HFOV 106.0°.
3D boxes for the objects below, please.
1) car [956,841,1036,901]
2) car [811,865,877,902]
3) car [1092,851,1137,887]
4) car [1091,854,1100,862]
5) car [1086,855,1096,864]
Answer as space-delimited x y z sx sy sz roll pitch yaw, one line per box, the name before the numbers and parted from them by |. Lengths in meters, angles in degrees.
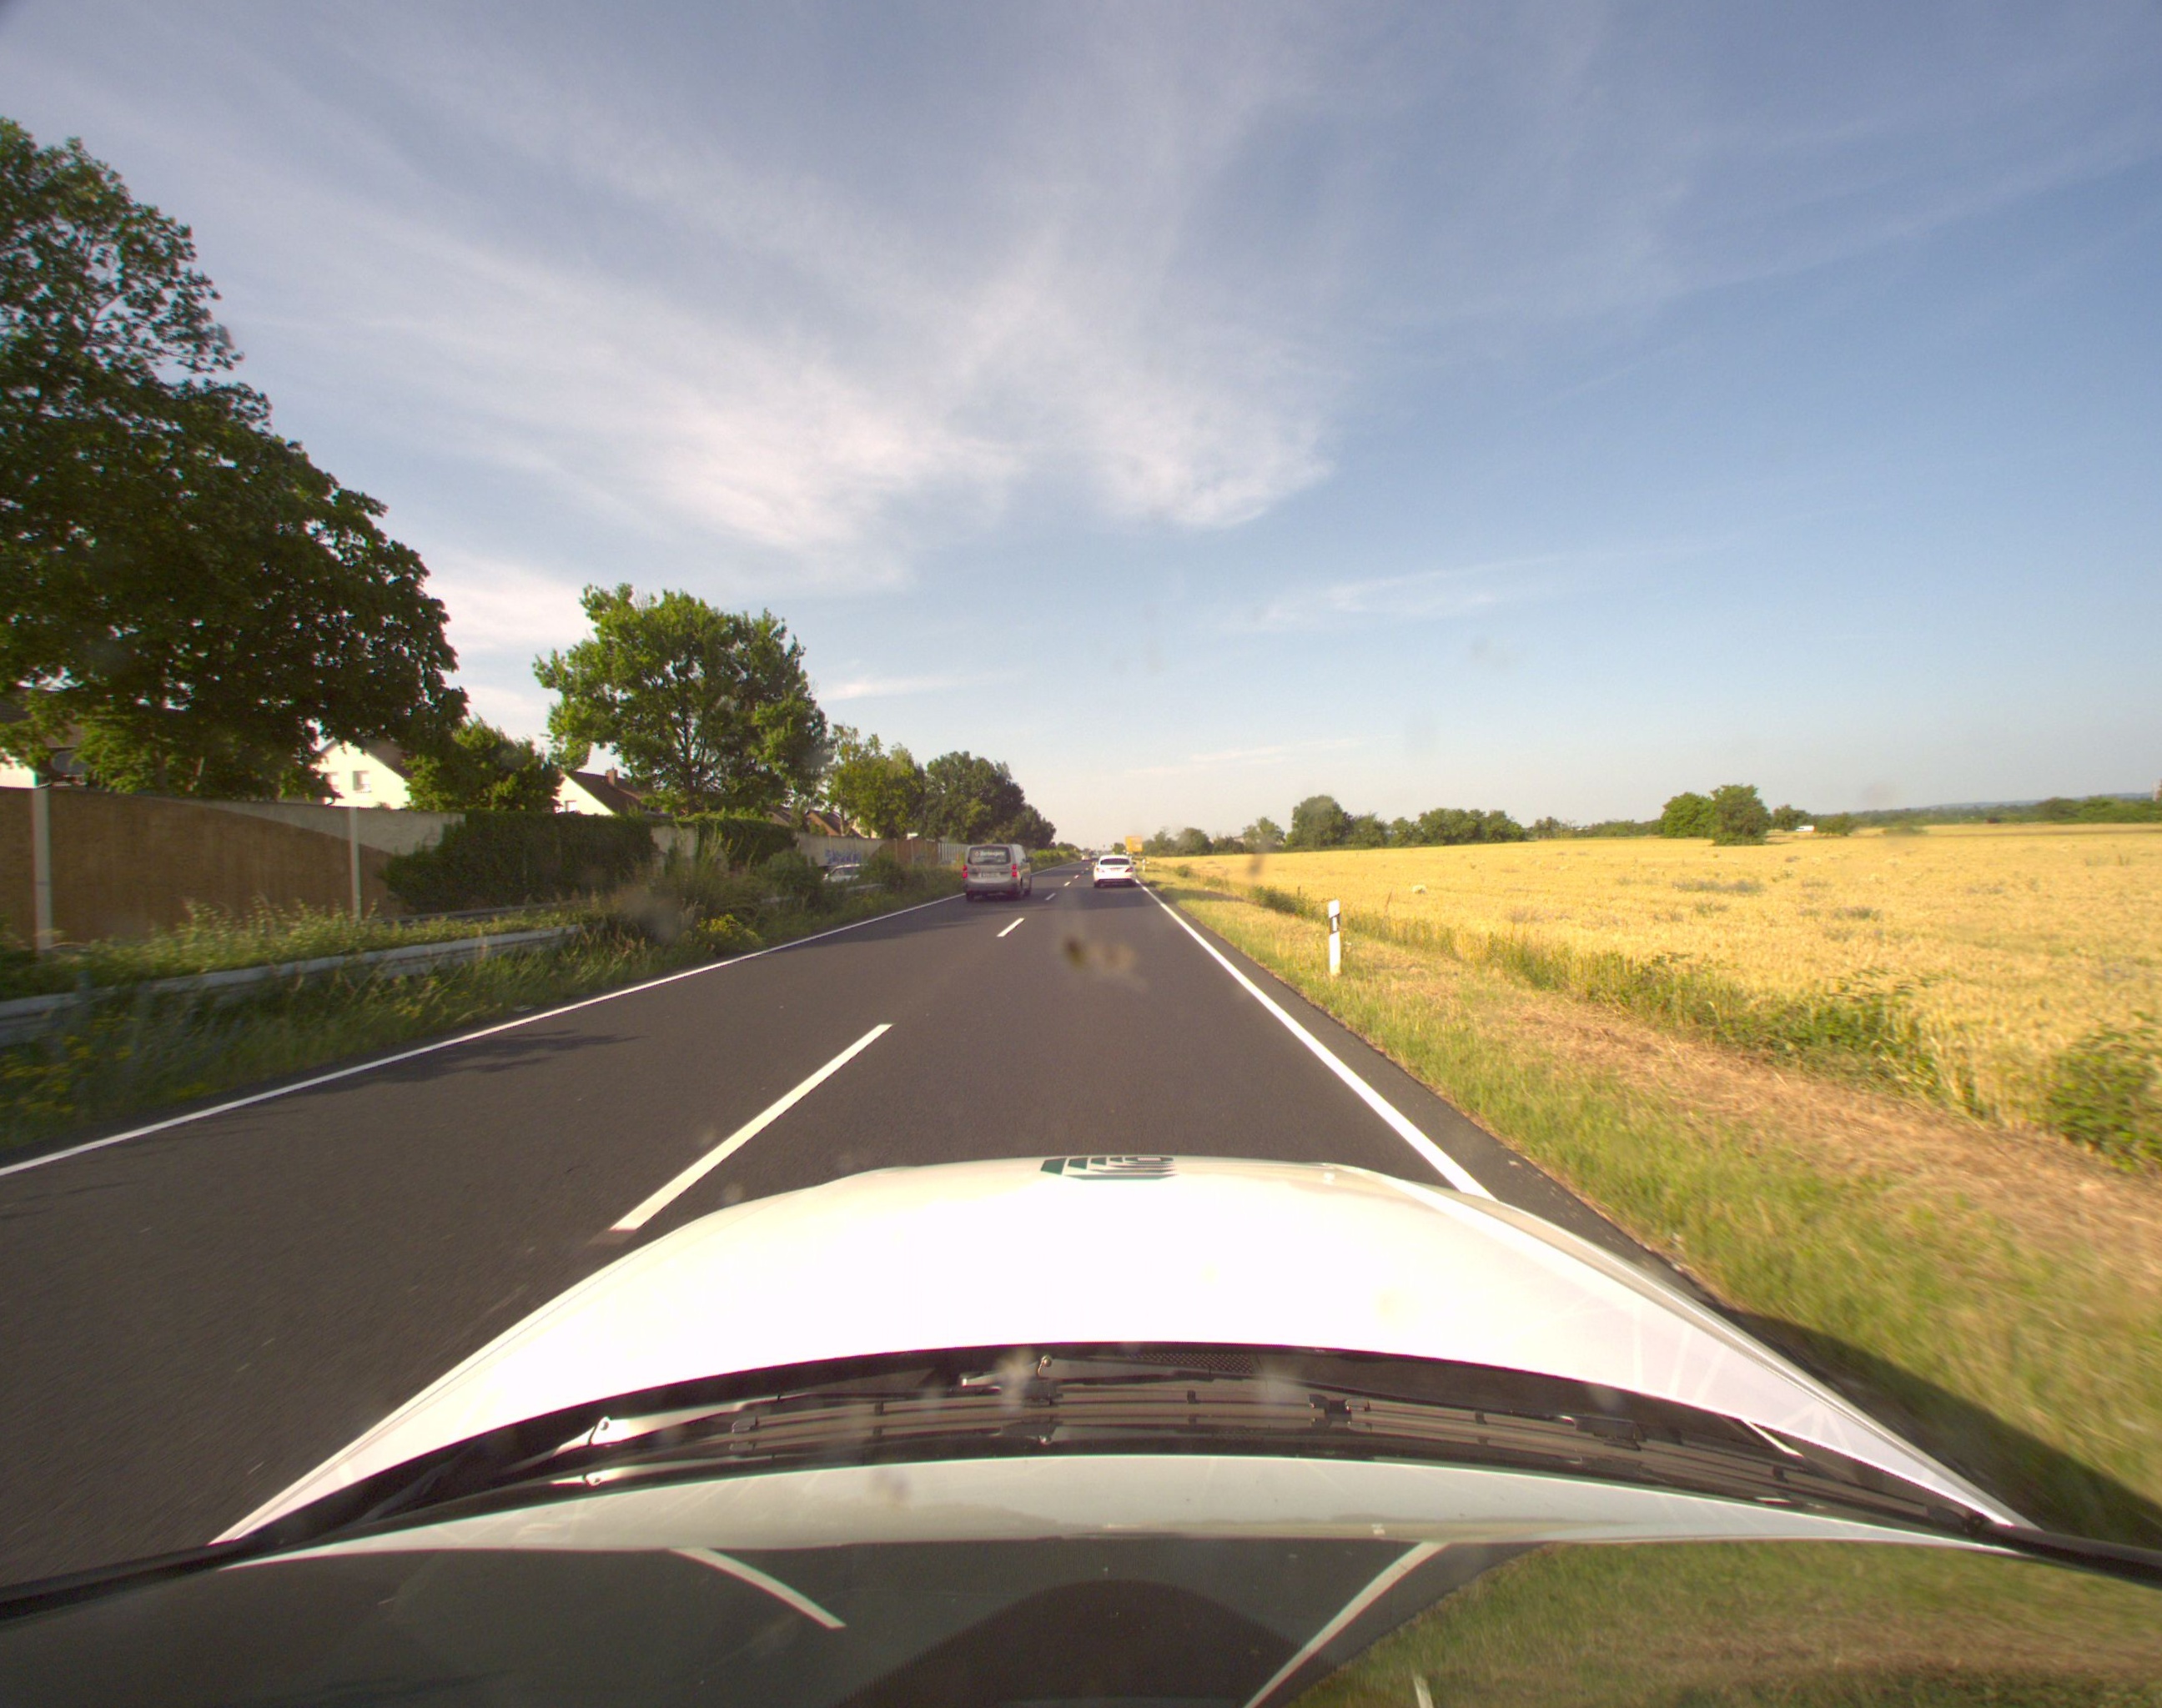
car | -2.864 0.529 28.479 2.017 1.892 4.962 0 0 3
car | -10.227 1.233 35.340 1.687 1.488 3.674 0 0 2
car | 1.508 0.658 37.091 1.887 1.509 4.001 -1 0 2
car | 2.909 0.866 167.823 1.871 1.651 3.664 0 0 1
car | 1.774 0.906 141.334 1.710 1.492 3.586 0 0 2
